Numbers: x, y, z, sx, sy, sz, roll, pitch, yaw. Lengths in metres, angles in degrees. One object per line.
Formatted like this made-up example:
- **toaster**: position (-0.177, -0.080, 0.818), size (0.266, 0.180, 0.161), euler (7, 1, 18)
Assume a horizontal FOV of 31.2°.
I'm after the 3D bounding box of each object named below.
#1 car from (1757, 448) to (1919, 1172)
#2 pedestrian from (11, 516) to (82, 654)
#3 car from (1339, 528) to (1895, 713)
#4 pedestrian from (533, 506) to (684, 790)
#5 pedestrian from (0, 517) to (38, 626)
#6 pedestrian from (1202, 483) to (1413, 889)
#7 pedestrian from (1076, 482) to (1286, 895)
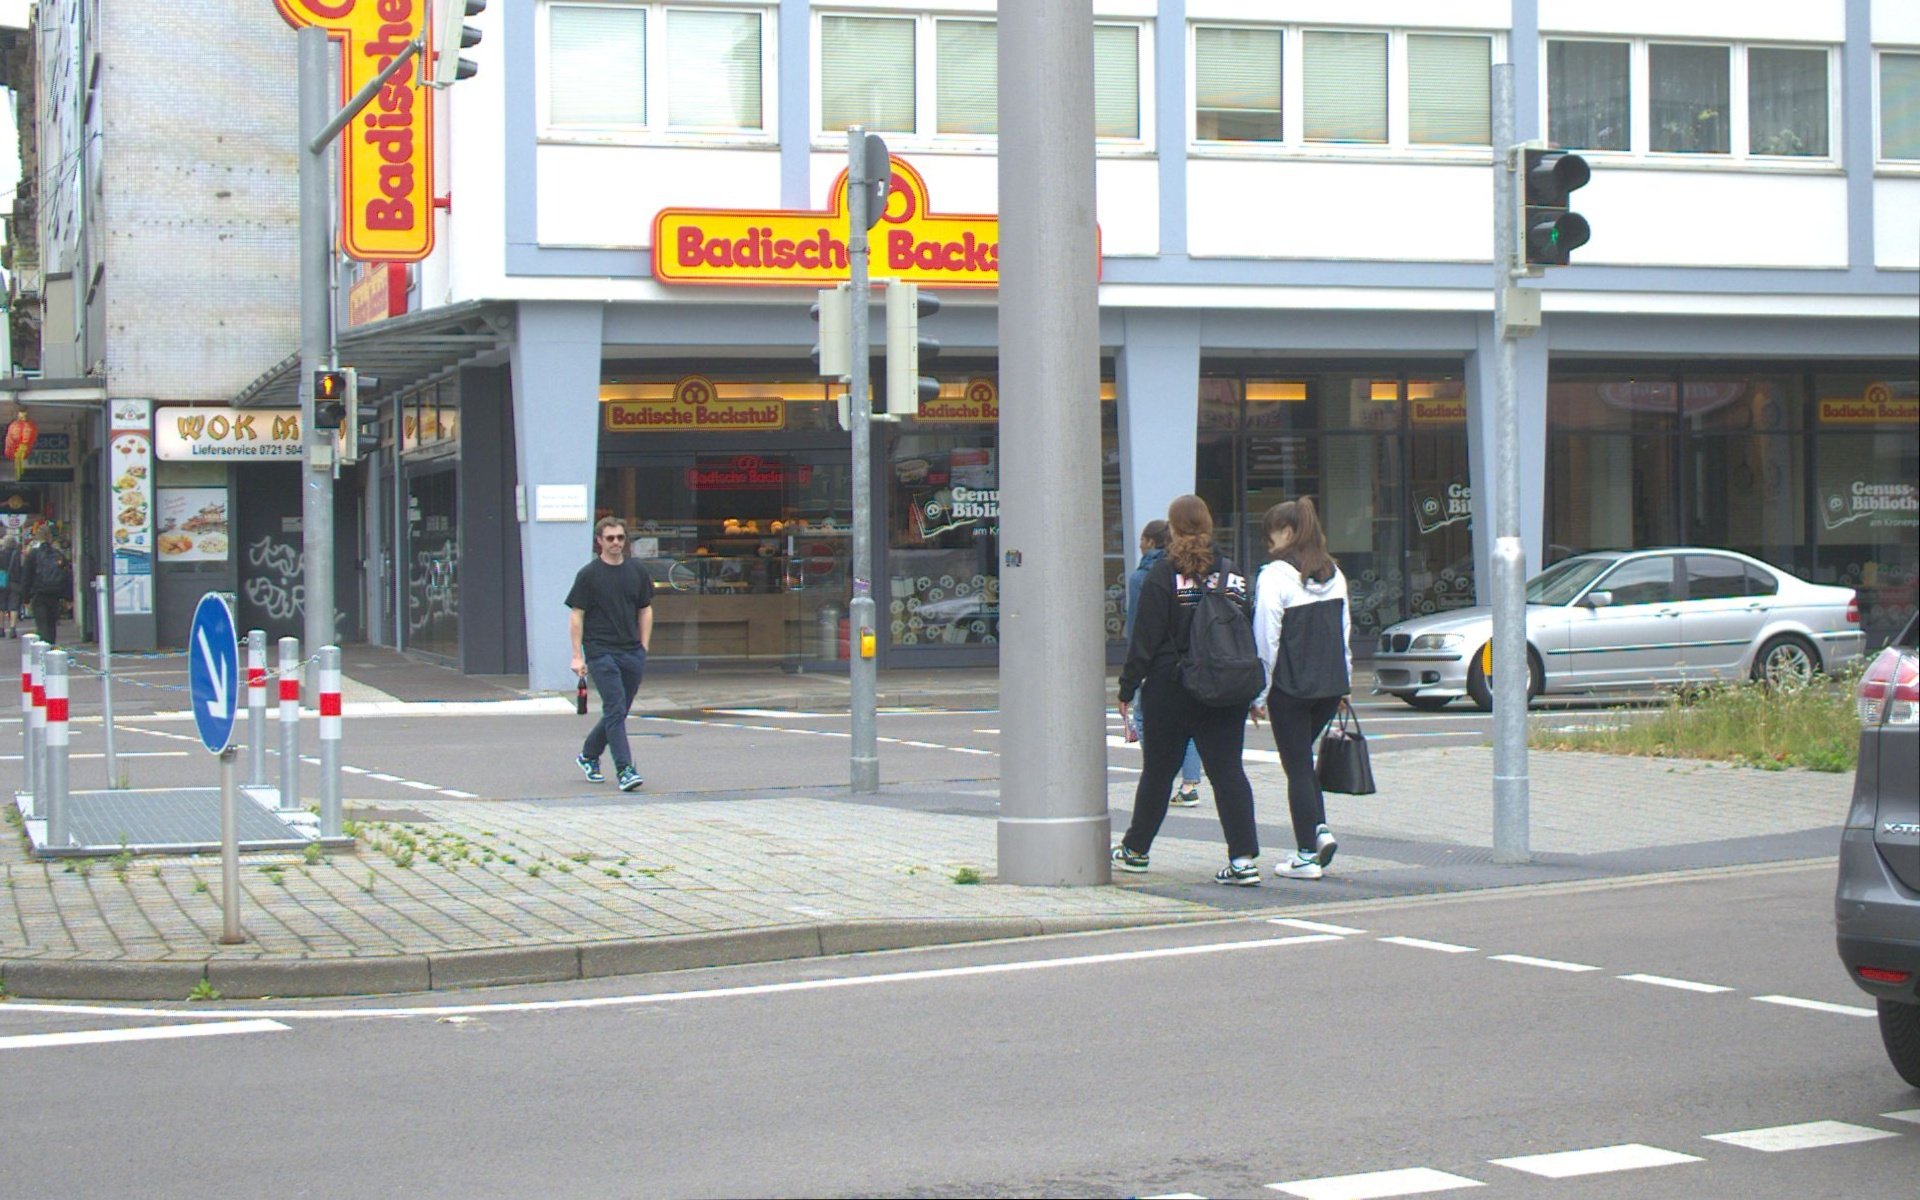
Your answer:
- **car**: position (4.146, 0.484, 9.861), size (1.867, 1.768, 4.557), euler (2, 2, 38)
- **pedestrian**: position (-11.410, -0.193, 42.956), size (0.710, 1.699, 0.734), euler (1, 1, -3)
- **car**: position (5.830, 0.153, 30.575), size (4.550, 1.476, 1.749), euler (-1, 1, -18)
- **pedestrian**: position (-2.333, 0.303, 22.763), size (0.712, 1.826, 1.017), euler (0, 1, -23)
- **pedestrian**: position (-15.990, -0.485, 58.086), size (0.737, 1.815, 0.662), euler (-1, 1, -18)
- **pedestrian**: position (1.543, 0.369, 15.348), size (0.621, 1.755, 0.780), euler (0, 1, -23)
- **pedestrian**: position (0.965, 0.373, 15.112), size (0.621, 1.755, 0.780), euler (0, 1, -23)
